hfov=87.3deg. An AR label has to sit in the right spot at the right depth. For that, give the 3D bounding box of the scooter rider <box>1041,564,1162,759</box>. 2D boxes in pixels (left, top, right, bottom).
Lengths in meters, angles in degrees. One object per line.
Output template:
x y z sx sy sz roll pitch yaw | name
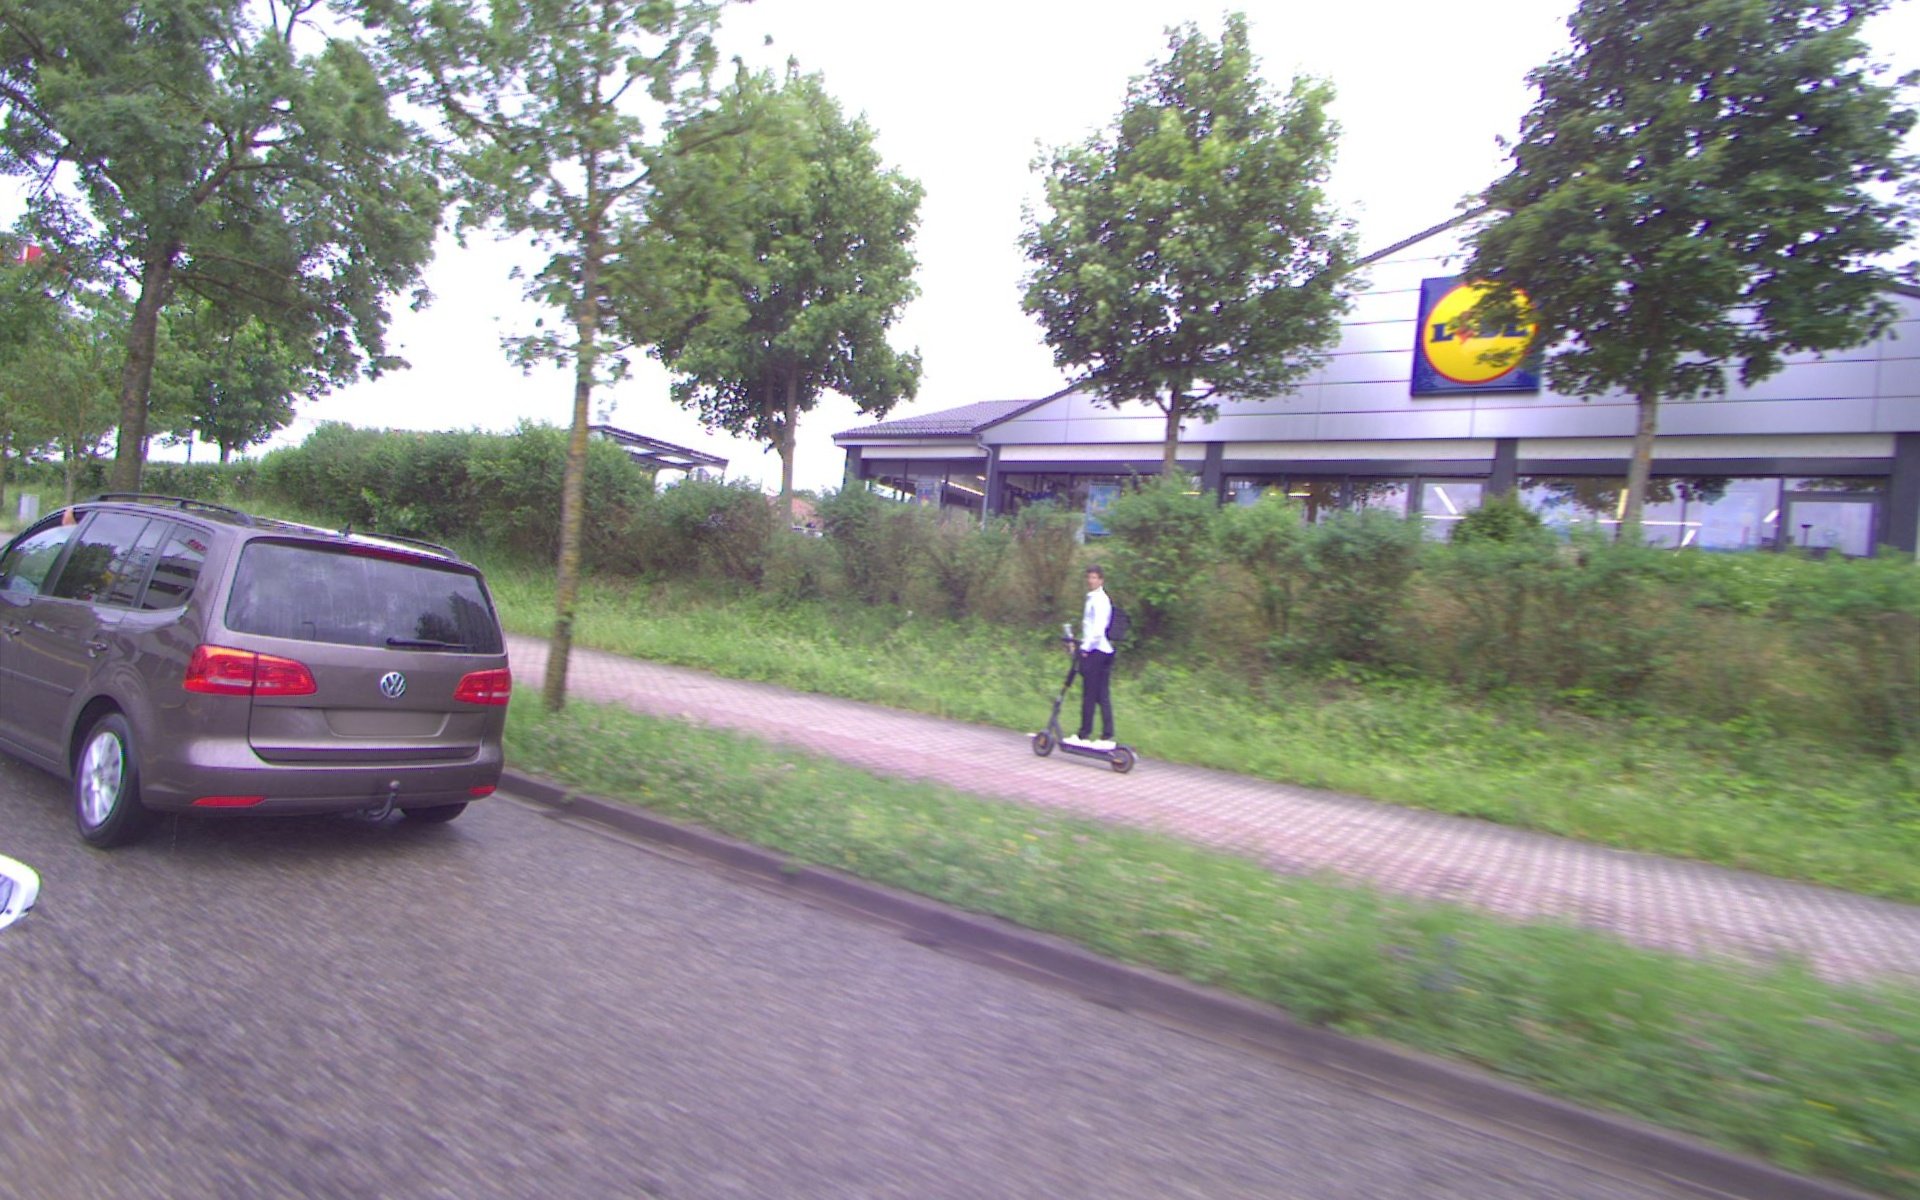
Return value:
1.443 0.603 10.231 0.844 1.844 0.695 6 2 32 | scooter rider

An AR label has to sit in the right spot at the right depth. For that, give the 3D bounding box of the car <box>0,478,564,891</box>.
-4.477 0.270 5.893 4.148 1.599 1.689 7 -2 31 | car

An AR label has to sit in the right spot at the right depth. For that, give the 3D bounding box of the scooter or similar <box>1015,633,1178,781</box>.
1.382 1.054 10.254 1.378 1.280 0.695 6 1 32 | scooter or similar
